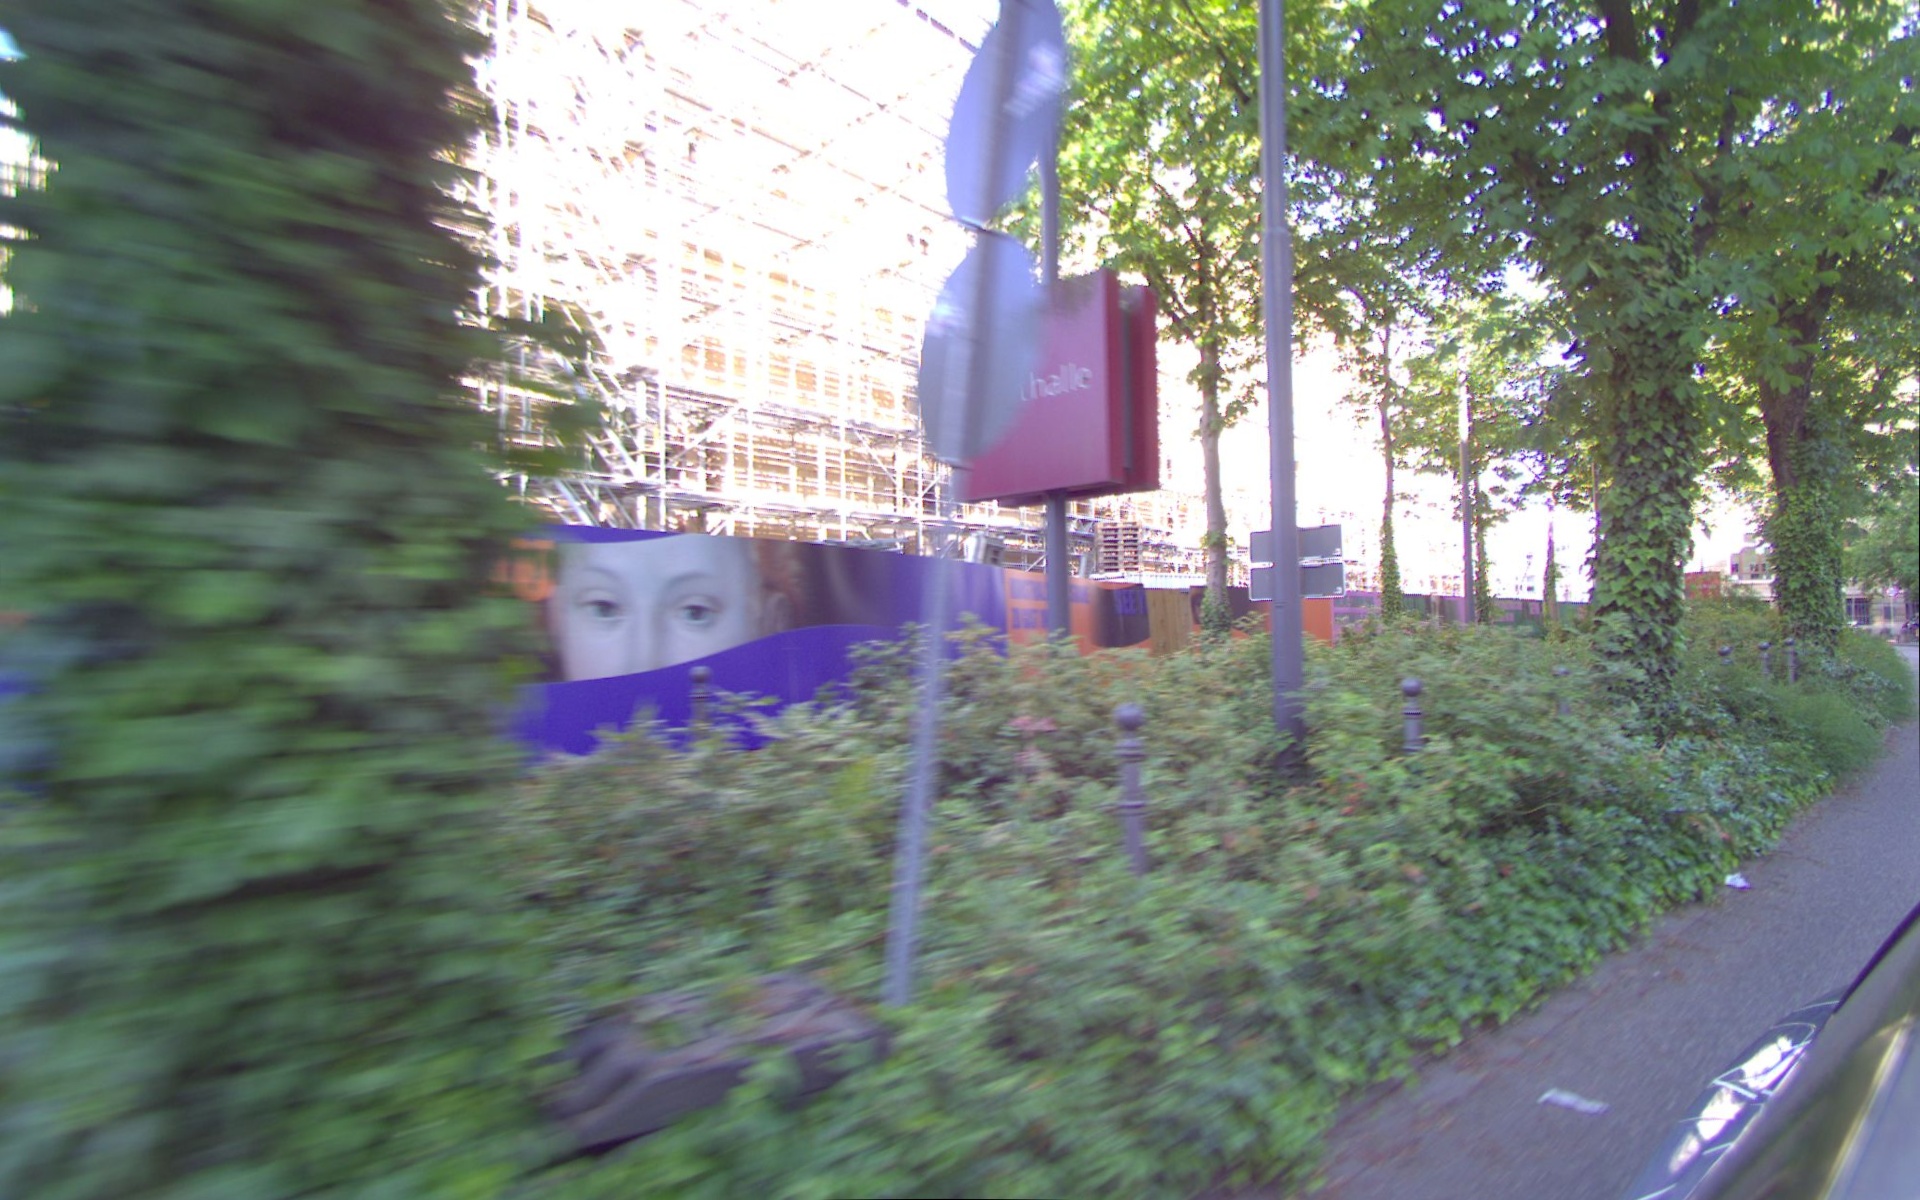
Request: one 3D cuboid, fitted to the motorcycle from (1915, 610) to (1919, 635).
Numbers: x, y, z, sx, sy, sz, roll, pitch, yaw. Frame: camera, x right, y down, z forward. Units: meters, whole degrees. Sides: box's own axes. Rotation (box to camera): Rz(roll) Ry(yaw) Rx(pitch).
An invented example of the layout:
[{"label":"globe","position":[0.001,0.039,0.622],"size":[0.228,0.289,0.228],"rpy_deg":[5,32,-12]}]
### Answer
[{"label":"motorcycle","position":[51.184,1.157,53.101],"size":[0.806,1.334,2.316],"rpy_deg":[-1,-2,25]}]
